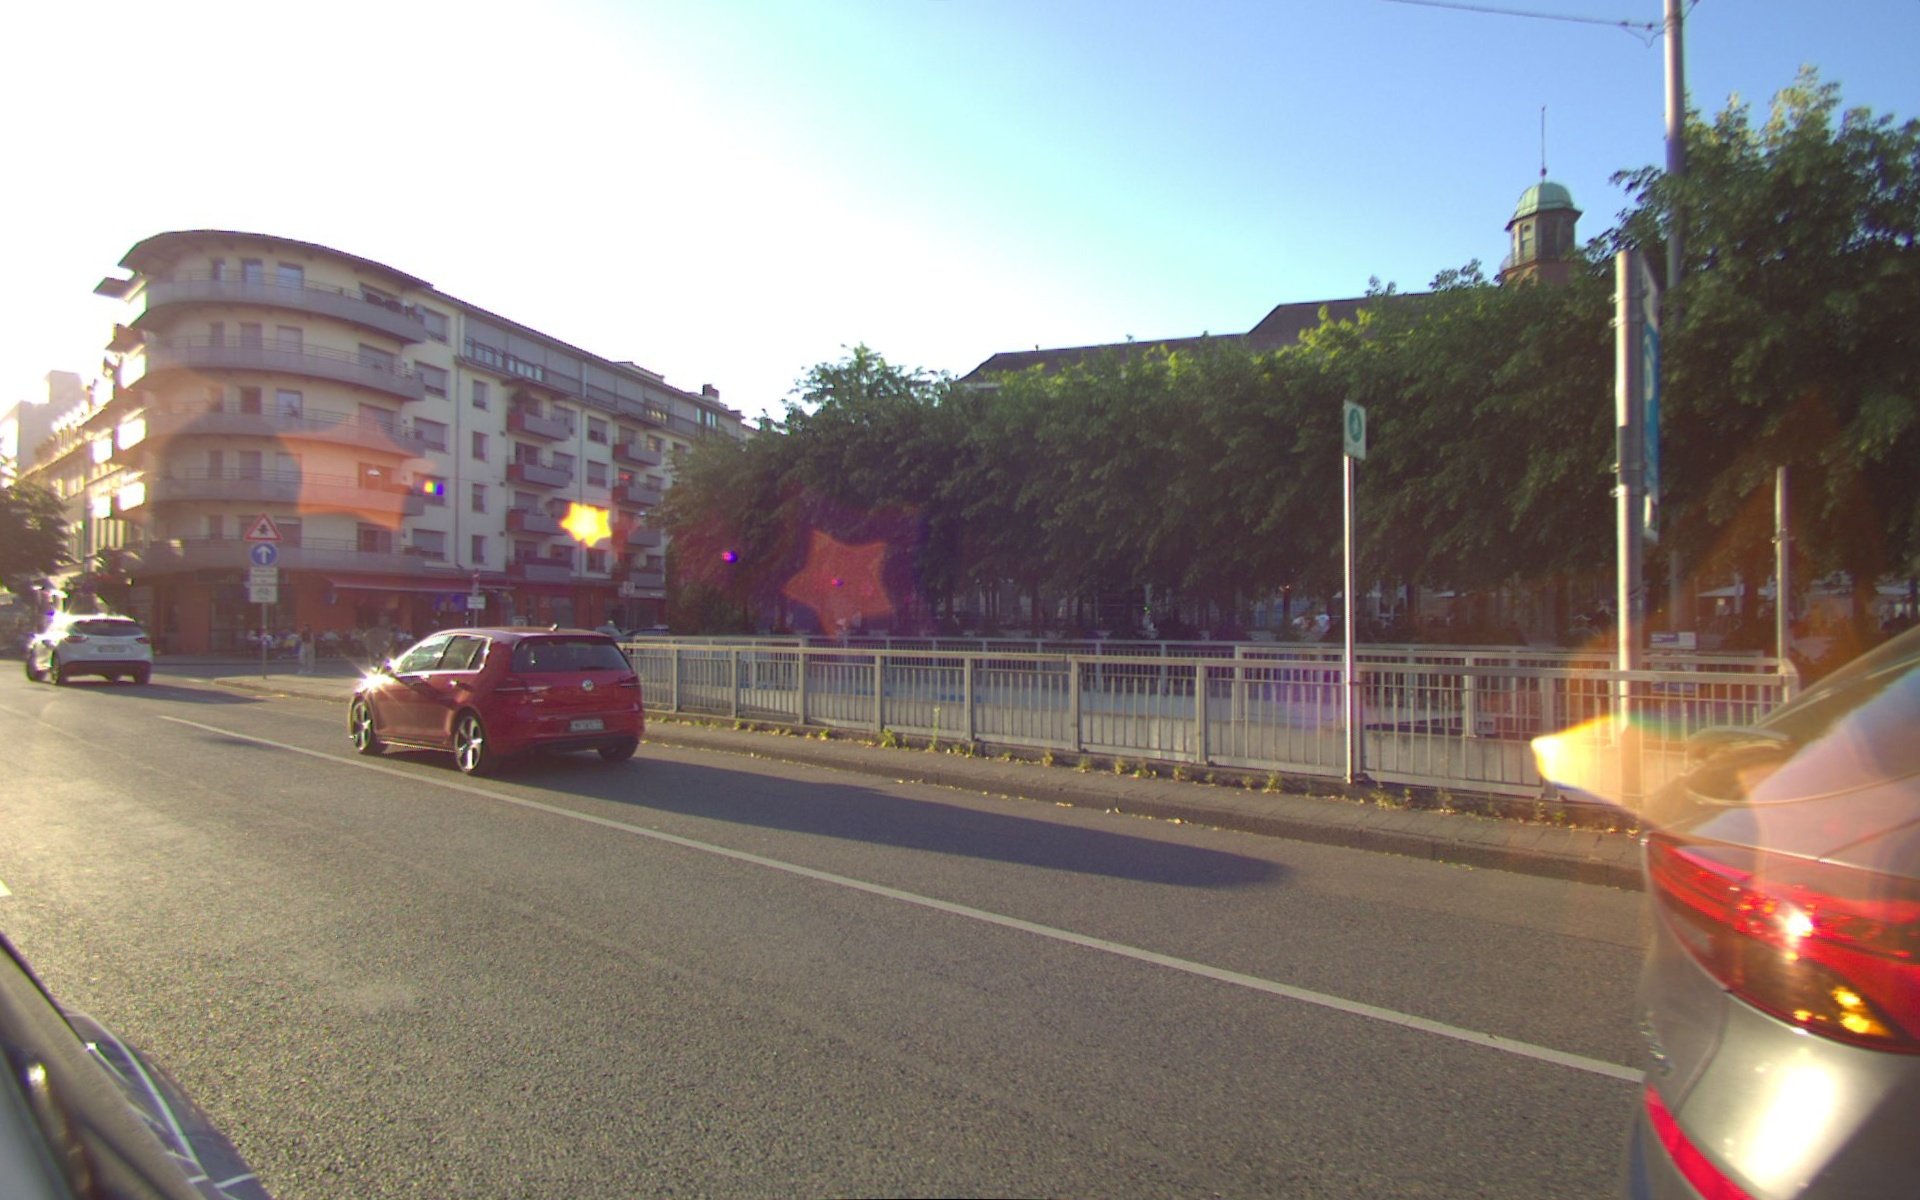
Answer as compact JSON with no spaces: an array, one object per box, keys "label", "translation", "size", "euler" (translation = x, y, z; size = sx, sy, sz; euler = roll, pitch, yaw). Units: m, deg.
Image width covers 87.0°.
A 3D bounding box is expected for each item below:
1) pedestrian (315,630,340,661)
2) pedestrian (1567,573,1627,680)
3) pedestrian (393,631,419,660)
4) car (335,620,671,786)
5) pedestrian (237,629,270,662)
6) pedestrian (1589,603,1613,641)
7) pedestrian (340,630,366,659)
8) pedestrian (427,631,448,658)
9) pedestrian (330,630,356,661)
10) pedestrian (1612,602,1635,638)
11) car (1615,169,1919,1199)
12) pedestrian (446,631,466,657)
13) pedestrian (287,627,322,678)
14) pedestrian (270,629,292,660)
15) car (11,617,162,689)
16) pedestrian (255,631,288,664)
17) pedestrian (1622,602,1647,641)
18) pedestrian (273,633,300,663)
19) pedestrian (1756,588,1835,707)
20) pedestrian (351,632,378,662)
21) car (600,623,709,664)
[{"label":"pedestrian","translation":[-28.078,2.004,44.922],"size":[0.888,1.332,0.723],"euler":[-2,-1,40]},{"label":"pedestrian","translation":[12.371,0.508,19.672],"size":[0.733,2.029,0.901],"euler":[-1,-1,18]},{"label":"pedestrian","translation":[-26.533,2.178,48.436],"size":[0.884,1.332,0.727],"euler":[-1,-1,26]},{"label":"car","translation":[-5.085,0.974,11.048],"size":[3.953,1.477,1.768],"euler":[-1,-2,39]},{"label":"pedestrian","translation":[-29.189,1.891,41.808],"size":[0.726,1.332,0.885],"euler":[-1,-1,14]},{"label":"pedestrian","translation":[23.497,0.794,37.116],"size":[0.651,1.386,0.656],"euler":[-1,-1,26]},{"label":"pedestrian","translation":[-28.201,2.063,47.036],"size":[0.814,1.332,0.684],"euler":[-1,-1,17]},{"label":"pedestrian","translation":[-26.637,2.246,51.571],"size":[0.721,1.332,0.891],"euler":[-1,-1,-11]},{"label":"pedestrian","translation":[-27.765,2.044,45.544],"size":[0.887,1.332,0.723],"euler":[-2,-1,38]},{"label":"pedestrian","translation":[25.680,0.765,39.199],"size":[0.651,1.386,0.515],"euler":[-1,-1,26]},{"label":"car","translation":[2.912,0.478,0.230],"size":[4.445,1.702,1.854],"euler":[-2,-3,40]},{"label":"pedestrian","translation":[-25.731,2.244,51.671],"size":[0.721,1.332,0.891],"euler":[-1,-1,-11]},{"label":"pedestrian","translation":[-20.194,1.601,31.191],"size":[0.668,1.529,0.677],"euler":[-1,-1,-2]},{"label":"pedestrian","translation":[-29.219,1.915,43.556],"size":[0.611,1.332,0.669],"euler":[-2,-1,39]},{"label":"car","translation":[-21.846,1.324,25.277],"size":[4.169,1.644,1.856],"euler":[-2,-4,36]},{"label":"pedestrian","translation":[-28.287,1.942,41.606],"size":[0.725,1.332,0.886],"euler":[-1,-1,9]},{"label":"pedestrian","translation":[24.398,0.782,36.593],"size":[0.651,1.386,0.515],"euler":[-1,-1,26]},{"label":"pedestrian","translation":[-28.510,2.019,42.828],"size":[0.875,1.201,0.734],"euler":[0,-1,-40]},{"label":"pedestrian","translation":[14.633,0.817,17.756],"size":[0.733,2.029,0.901],"euler":[-1,-1,18]},{"label":"pedestrian","translation":[-27.240,2.155,46.280],"size":[0.884,1.332,0.726],"euler":[-1,-1,27]},{"label":"car","translation":[-12.792,1.822,42.487],"size":[3.959,1.664,1.992],"euler":[-1,-1,12]}]
